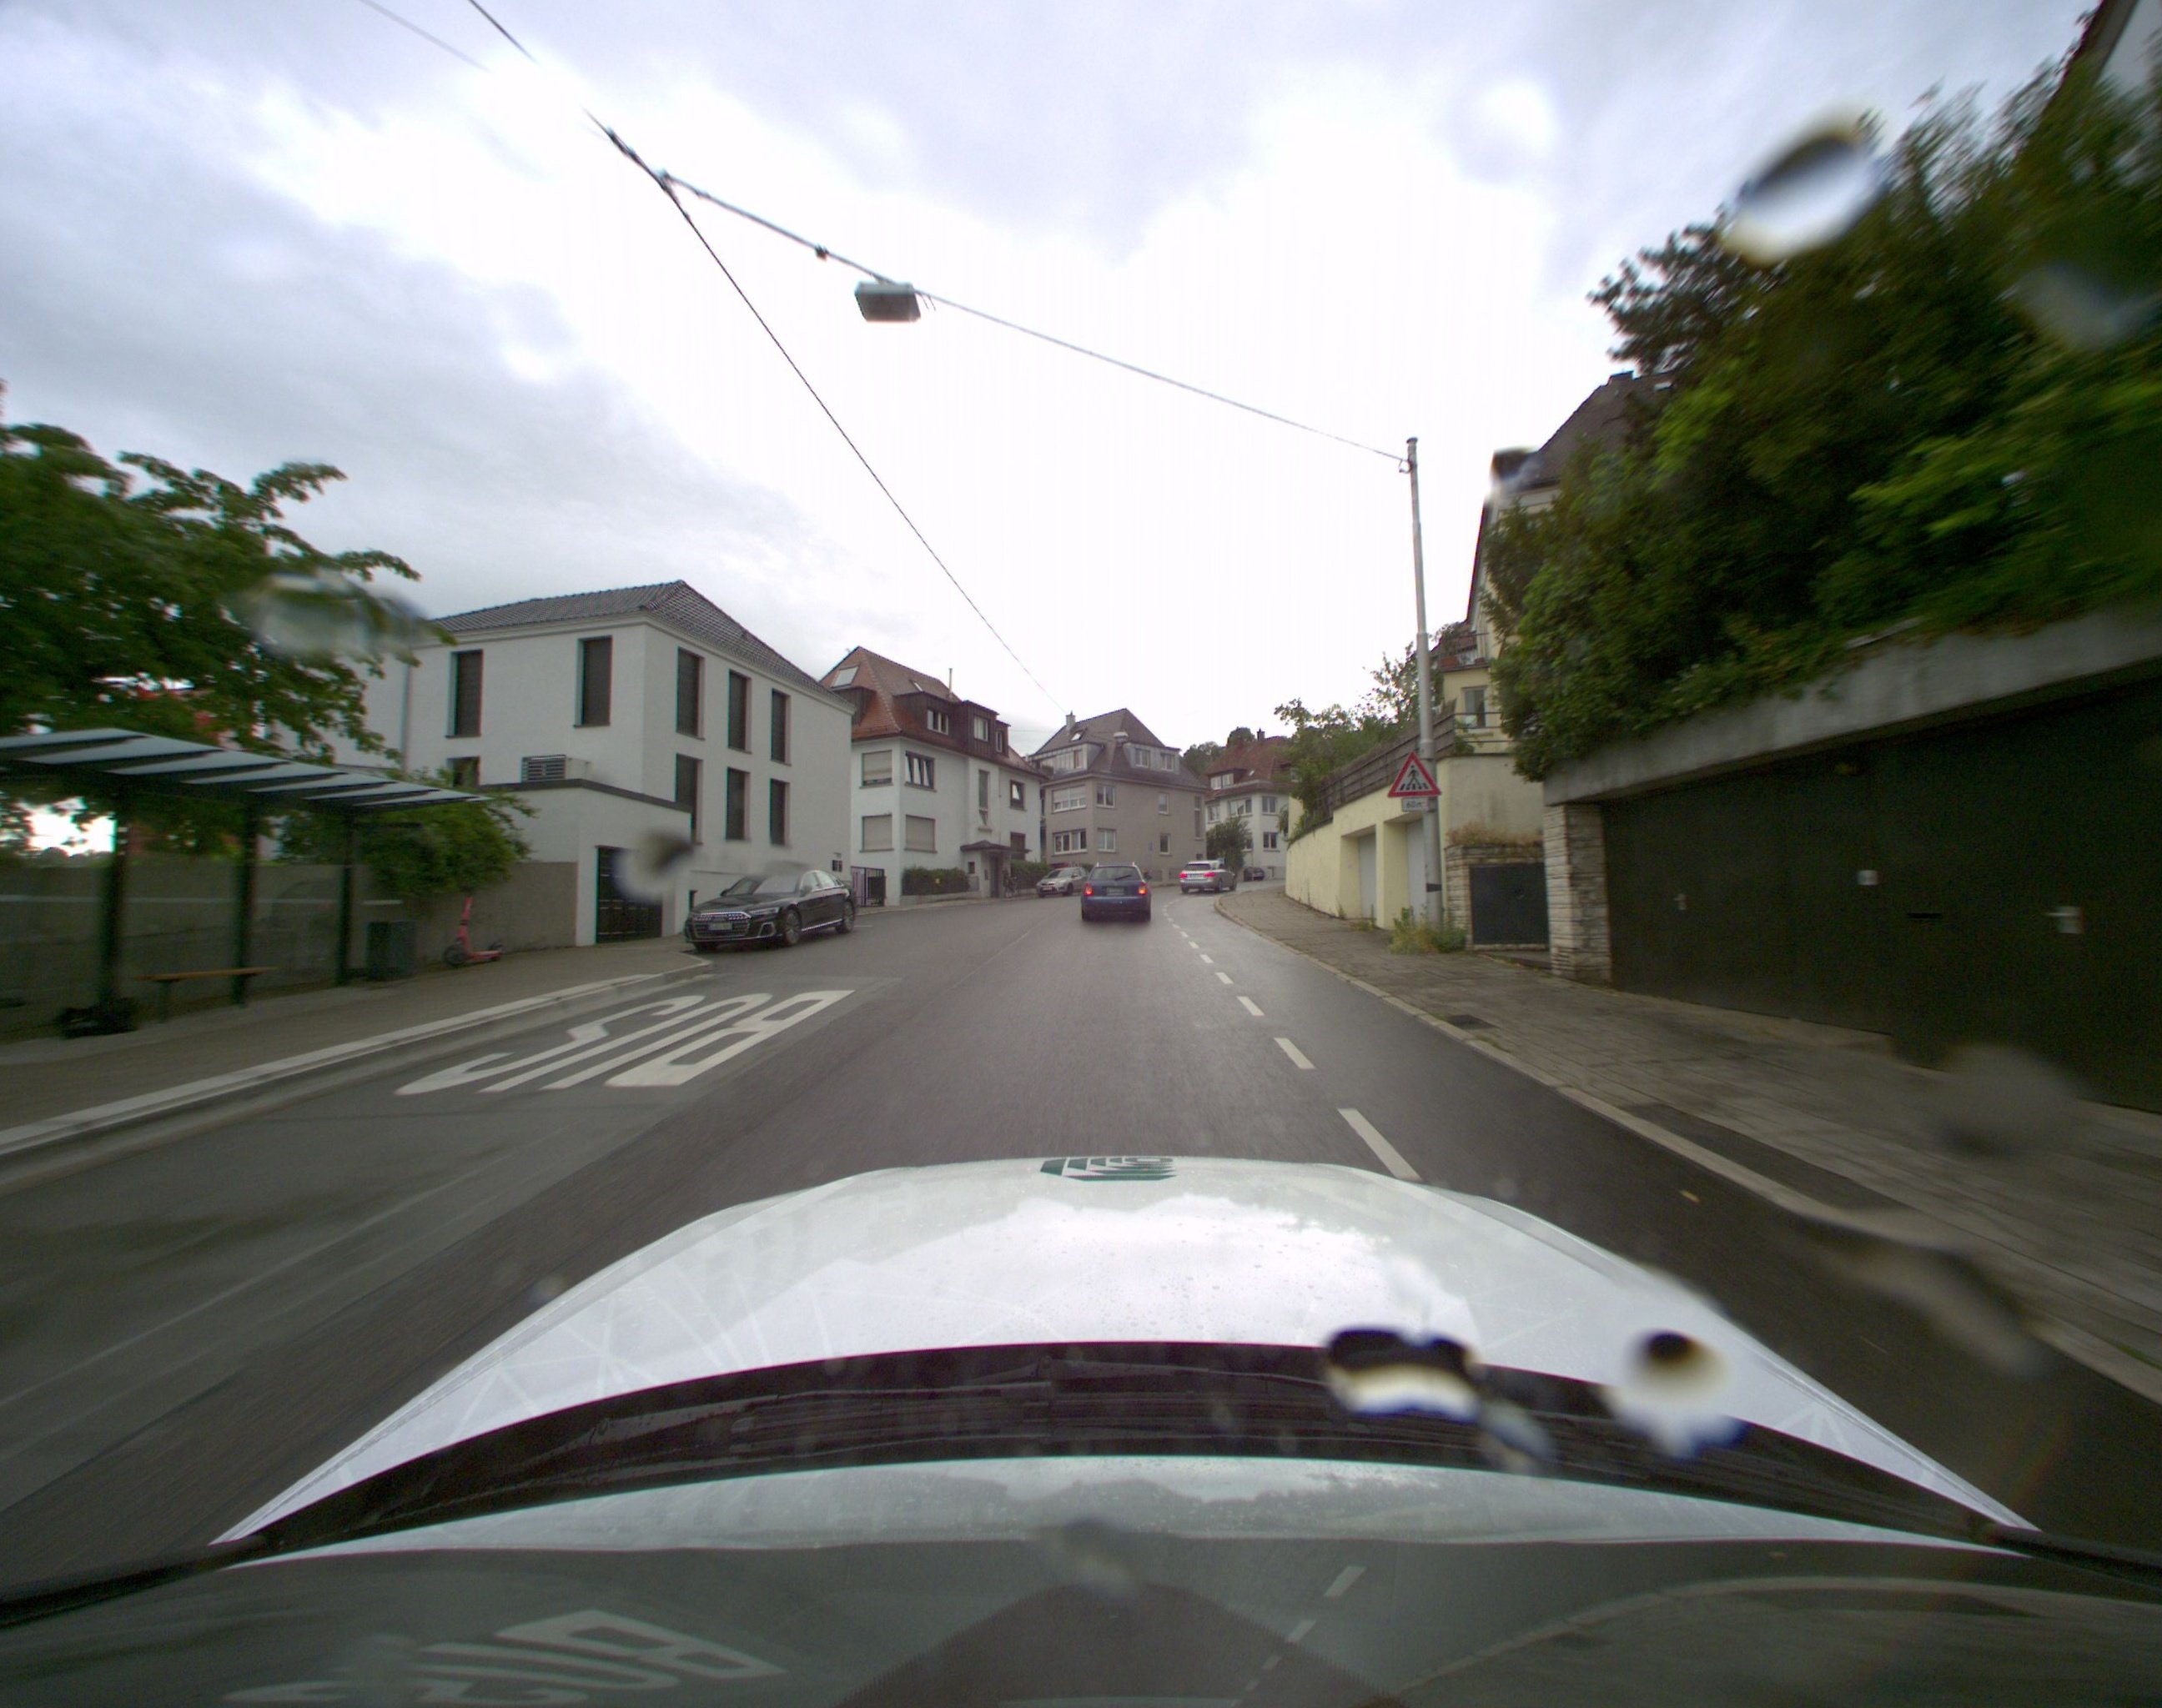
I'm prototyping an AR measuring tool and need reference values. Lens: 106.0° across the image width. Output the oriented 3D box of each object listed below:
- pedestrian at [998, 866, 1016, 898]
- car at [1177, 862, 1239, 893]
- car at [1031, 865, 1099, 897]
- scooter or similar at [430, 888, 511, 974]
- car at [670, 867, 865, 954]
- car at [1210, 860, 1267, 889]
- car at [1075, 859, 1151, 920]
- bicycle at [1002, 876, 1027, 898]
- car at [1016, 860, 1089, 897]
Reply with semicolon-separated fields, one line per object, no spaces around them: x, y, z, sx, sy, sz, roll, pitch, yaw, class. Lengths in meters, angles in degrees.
-3.783;1.409;41.594;0.488;1.577;0.952;-2;-1;21;pedestrian
5.919;1.086;37.644;1.795;1.361;4.022;-1;-2;25;car
-0.771;1.384;42.287;1.819;1.425;4.253;-4;-2;24;car
-9.280;1.144;12.412;0.336;1.220;1.123;-1;-1;3;scooter or similar
-6.259;1.064;17.009;1.821;1.486;4.995;-2;-1;4;car
12.616;1.643;65.607;2.008;1.624;4.208;-2;-9;-33;car
0.872;0.849;21.349;1.804;1.439;4.084;0;0;3;car
-3.358;1.671;41.377;0.452;1.067;1.931;-2;-1;21;bicycle
-1.774;1.557;51.077;3.948;1.823;2.012;-8;-4;30;car
